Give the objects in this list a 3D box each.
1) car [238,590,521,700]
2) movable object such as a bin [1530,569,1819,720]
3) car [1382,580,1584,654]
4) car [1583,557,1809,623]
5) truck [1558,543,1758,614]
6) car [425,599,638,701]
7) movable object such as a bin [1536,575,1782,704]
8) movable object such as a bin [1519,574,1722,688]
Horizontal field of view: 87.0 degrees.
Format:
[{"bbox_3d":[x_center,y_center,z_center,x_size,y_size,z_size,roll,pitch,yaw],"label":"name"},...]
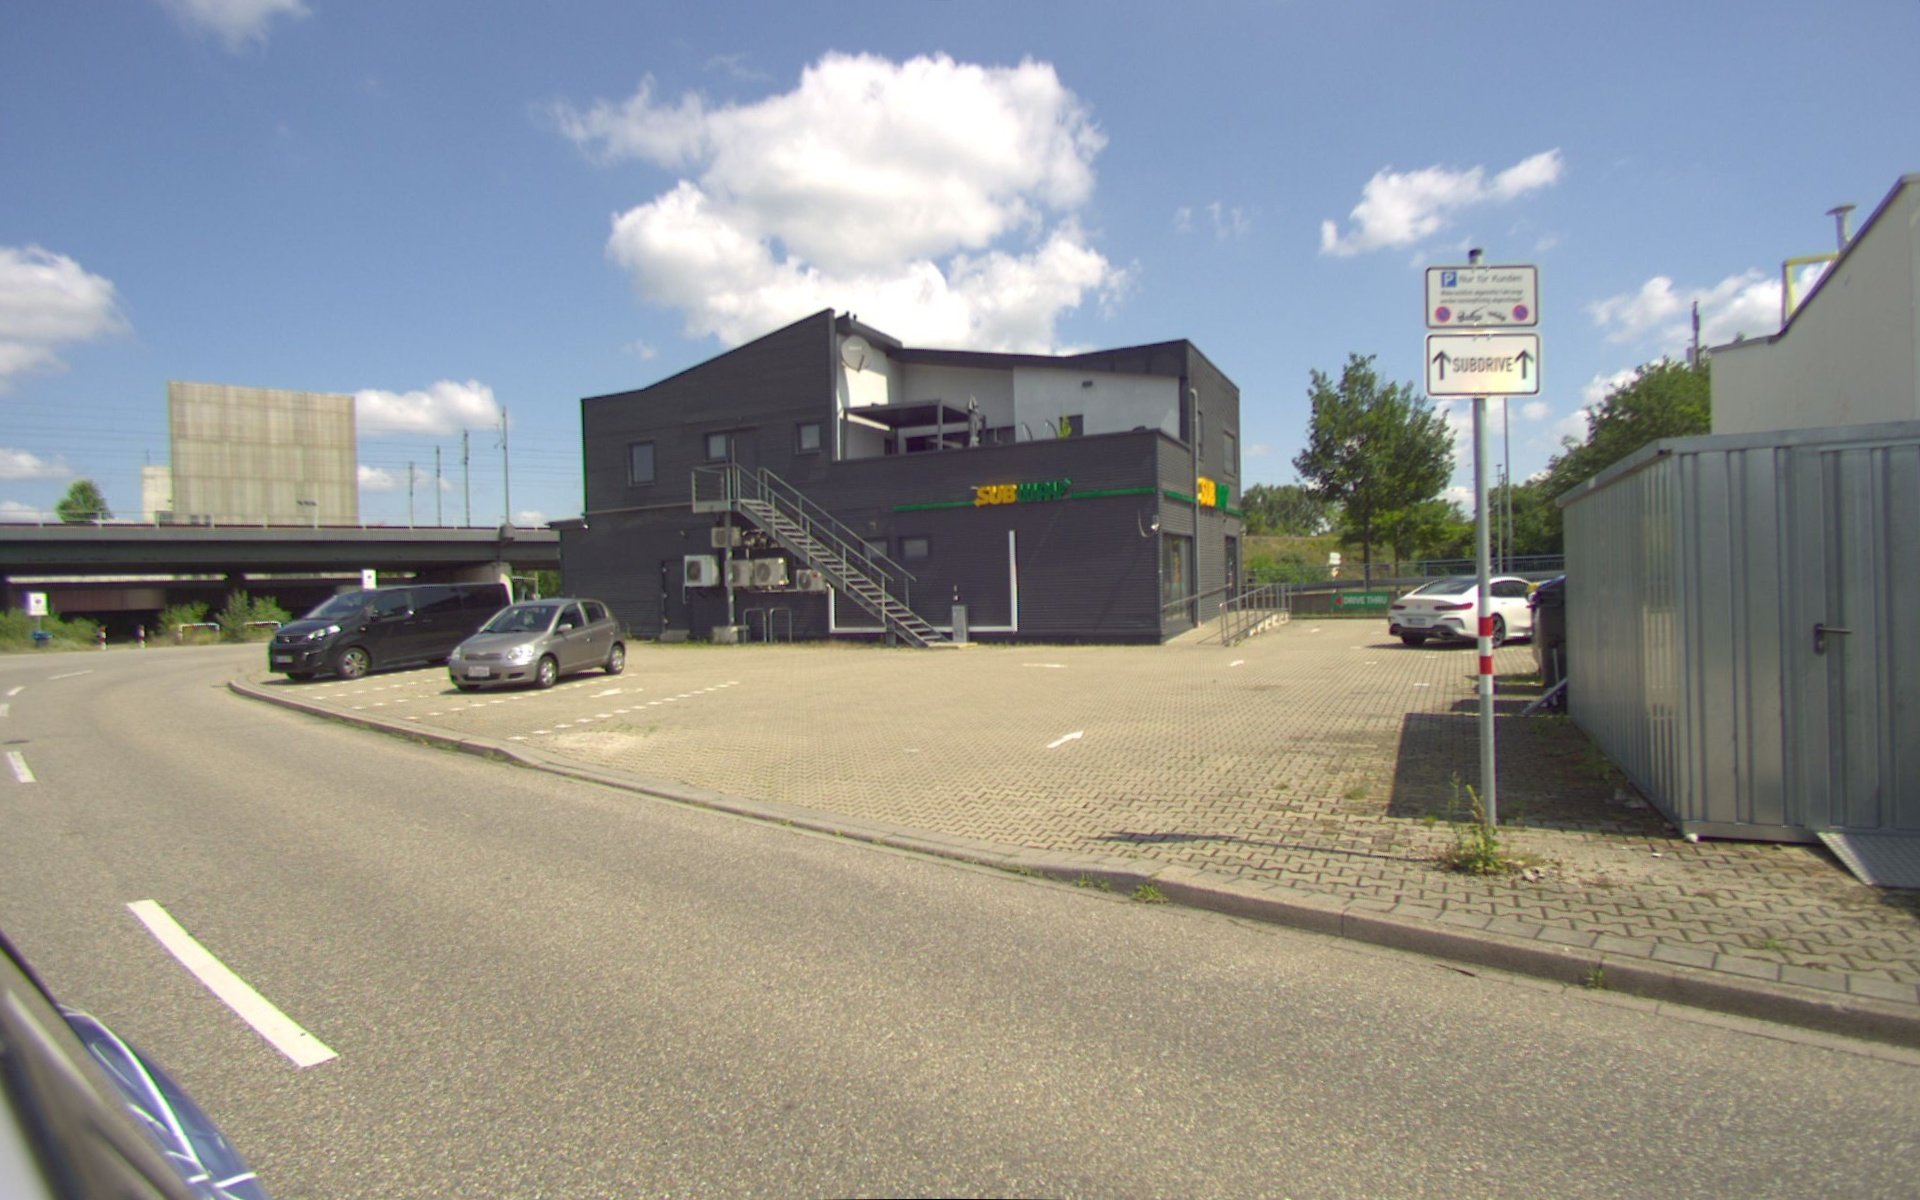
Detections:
[{"bbox_3d":[-12.696,0.879,22.638,1.988,1.930,5.302,-1,2,24],"label":"car"},{"bbox_3d":[7.240,0.430,10.475,2.190,1.400,1.365,-1,0,25],"label":"movable object such as a bin"},{"bbox_3d":[10.773,0.293,20.796,3.968,1.325,1.944,-2,1,-33],"label":"car"},{"bbox_3d":[19.208,-0.220,26.691,4.486,1.595,1.982,-1,0,26],"label":"car"},{"bbox_3d":[21.484,-0.610,31.414,4.813,2.029,1.942,-1,0,26],"label":"truck"},{"bbox_3d":[-7.473,0.812,18.072,1.777,1.487,3.685,-2,1,9],"label":"car"},{"bbox_3d":[8.165,0.439,11.994,2.190,1.400,1.188,-1,0,25],"label":"movable object such as a bin"},{"bbox_3d":[8.630,0.389,13.359,2.011,1.400,1.109,-1,1,20],"label":"movable object such as a bin"}]
